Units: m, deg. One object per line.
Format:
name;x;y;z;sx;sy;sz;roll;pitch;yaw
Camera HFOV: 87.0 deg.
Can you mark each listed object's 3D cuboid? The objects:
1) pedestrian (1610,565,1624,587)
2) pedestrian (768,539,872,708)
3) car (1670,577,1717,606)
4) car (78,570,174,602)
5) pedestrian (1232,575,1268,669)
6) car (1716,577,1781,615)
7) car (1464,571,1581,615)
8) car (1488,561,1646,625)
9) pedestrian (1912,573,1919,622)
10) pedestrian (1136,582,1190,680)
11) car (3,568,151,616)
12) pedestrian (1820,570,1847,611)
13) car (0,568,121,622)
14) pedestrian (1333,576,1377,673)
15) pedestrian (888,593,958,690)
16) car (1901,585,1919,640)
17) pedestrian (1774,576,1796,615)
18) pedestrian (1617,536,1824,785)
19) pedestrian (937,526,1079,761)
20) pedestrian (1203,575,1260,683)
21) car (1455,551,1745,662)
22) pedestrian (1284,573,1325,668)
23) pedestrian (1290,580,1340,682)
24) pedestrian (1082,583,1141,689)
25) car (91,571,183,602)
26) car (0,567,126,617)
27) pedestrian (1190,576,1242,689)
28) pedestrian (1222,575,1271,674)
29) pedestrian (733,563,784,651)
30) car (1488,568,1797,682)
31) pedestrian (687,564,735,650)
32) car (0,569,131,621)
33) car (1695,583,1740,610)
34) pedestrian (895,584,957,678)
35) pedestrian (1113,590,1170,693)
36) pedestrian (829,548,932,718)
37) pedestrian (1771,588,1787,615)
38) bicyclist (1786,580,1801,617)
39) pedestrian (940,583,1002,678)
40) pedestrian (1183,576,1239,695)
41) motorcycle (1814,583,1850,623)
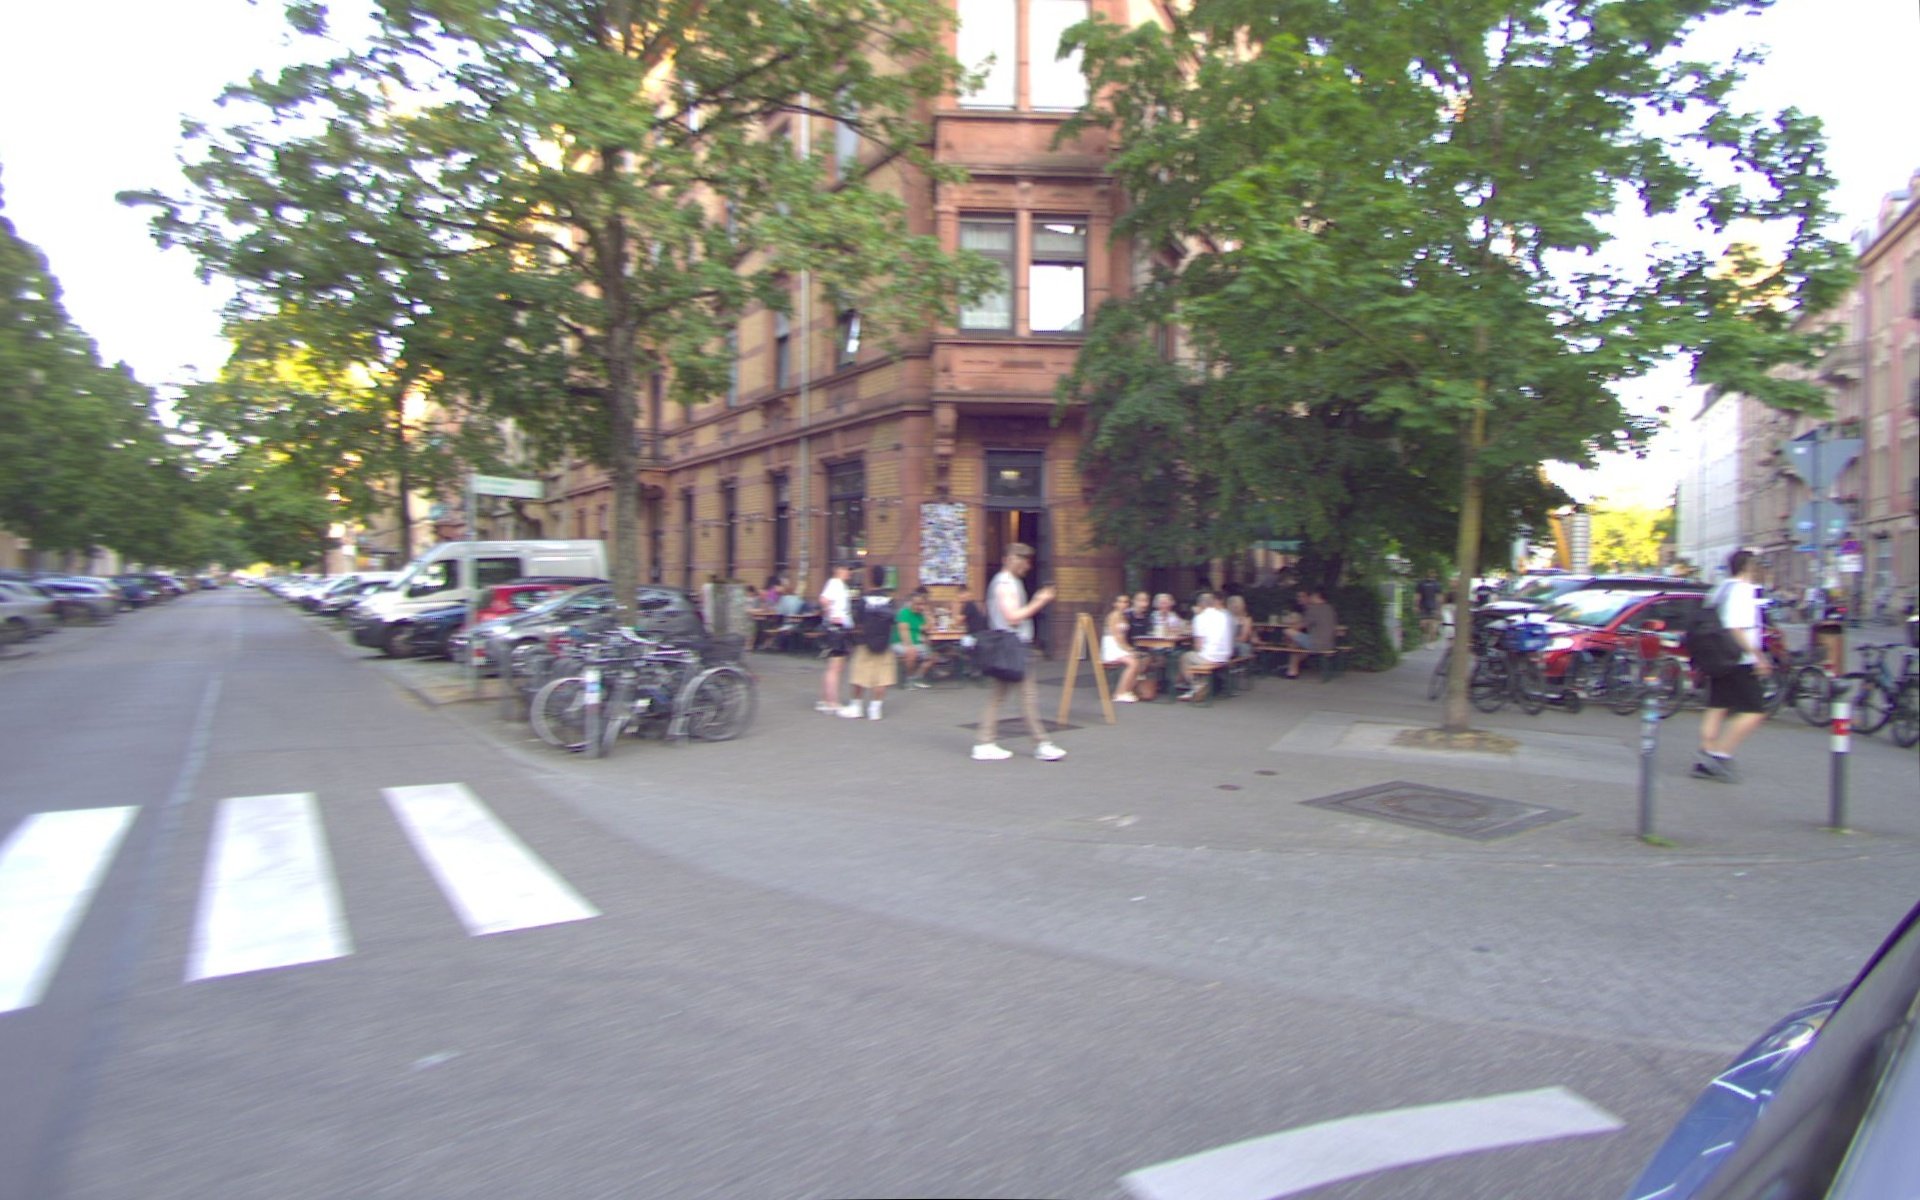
pedestrian;84.185;-3.129;129.653;1.433;2.775;1.002;-1;0;29
pedestrian;-1.596;0.252;11.621;0.828;1.851;0.861;-1;0;24
car;49.591;-0.588;68.536;1.916;1.906;4.857;0;1;28
car;-53.089;-0.910;64.477;1.992;1.957;4.477;-1;1;42
pedestrian;4.534;0.336;15.815;0.507;1.427;0.616;-1;0;17
car;39.945;-0.235;51.391;1.759;1.811;4.544;-1;1;27
car;28.910;-0.395;52.182;5.145;1.980;1.880;3;1;29
car;23.703;-0.289;39.665;4.850;2.392;1.998;1;1;4
pedestrian;35.635;-0.092;37.456;0.461;1.812;0.634;-1;0;33
pedestrian;2.751;0.400;13.701;0.542;1.285;0.568;-1;0;31
car;-38.296;-0.370;44.022;1.986;1.957;4.491;-1;1;34
pedestrian;39.669;-0.434;45.959;0.677;1.833;0.953;-1;0;25
car;-32.060;-0.186;34.856;1.986;1.807;4.491;-1;1;34
pedestrian;5.932;0.363;15.221;0.547;1.427;0.511;-1;0;17
pedestrian;-0.499;0.539;13.684;0.622;1.247;0.732;-1;1;33
car;26.632;0.368;26.514;1.825;1.489;4.134;0;1;27
pedestrian;39.000;-0.224;47.848;0.592;1.837;0.716;-1;0;21
pedestrian;5.878;0.426;7.864;0.929;1.792;0.870;-1;0;-13
pedestrian;0.392;0.328;8.531;0.820;1.851;0.869;-1;0;-30
pedestrian;3.611;0.374;13.465;0.543;1.397;0.567;-1;0;36
car;14.026;0.121;22.319;5.325;2.098;1.937;3;1;-8
pedestrian;5.261;0.305;15.473;0.547;1.427;0.511;-1;0;17
pedestrian;5.075;0.433;14.494;0.631;1.427;0.511;-1;0;17
pedestrian;1.902;0.436;12.671;0.542;1.285;0.568;-1;0;31
car;-54.496;-0.922;67.051;1.992;1.957;4.477;-1;1;42
car;-37.281;-0.348;41.411;1.986;1.957;4.491;-1;1;34
pedestrian;3.254;0.401;12.855;0.541;1.397;0.462;-1;0;27
pedestrian;4.275;0.354;15.131;0.504;1.427;0.620;-1;0;-3
pedestrian;-4.007;0.121;20.122;0.732;1.698;0.767;-1;0;-31
car;11.769;0.398;17.599;4.138;1.709;1.937;3;1;-8
pedestrian;-5.087;0.136;20.657;0.732;1.698;0.767;-1;0;-31
car;-33.467;-0.191;37.008;1.986;1.807;4.491;-1;1;34
car;44.948;-0.250;60.099;1.697;1.549;3.751;0;1;31
pedestrian;-0.509;0.454;15.336;0.622;1.362;0.732;-1;0;33
pedestrian;2.364;0.521;13.162;0.542;1.285;0.568;-1;0;31
pedestrian;-0.873;0.331;10.956;0.850;1.745;0.838;-1;0;-23
pedestrian;39.337;0.065;48.603;0.475;1.266;0.646;-1;0;30
bicyclist;37.211;-0.061;45.179;0.463;1.610;0.482;-1;0;33
pedestrian;0.166;0.443;15.129;0.622;1.362;0.732;-1;0;33
pedestrian;3.022;0.417;12.186;0.541;1.397;0.462;-1;0;27
motorcycle;33.111;0.098;38.448;0.681;1.422;1.992;-1;1;32
